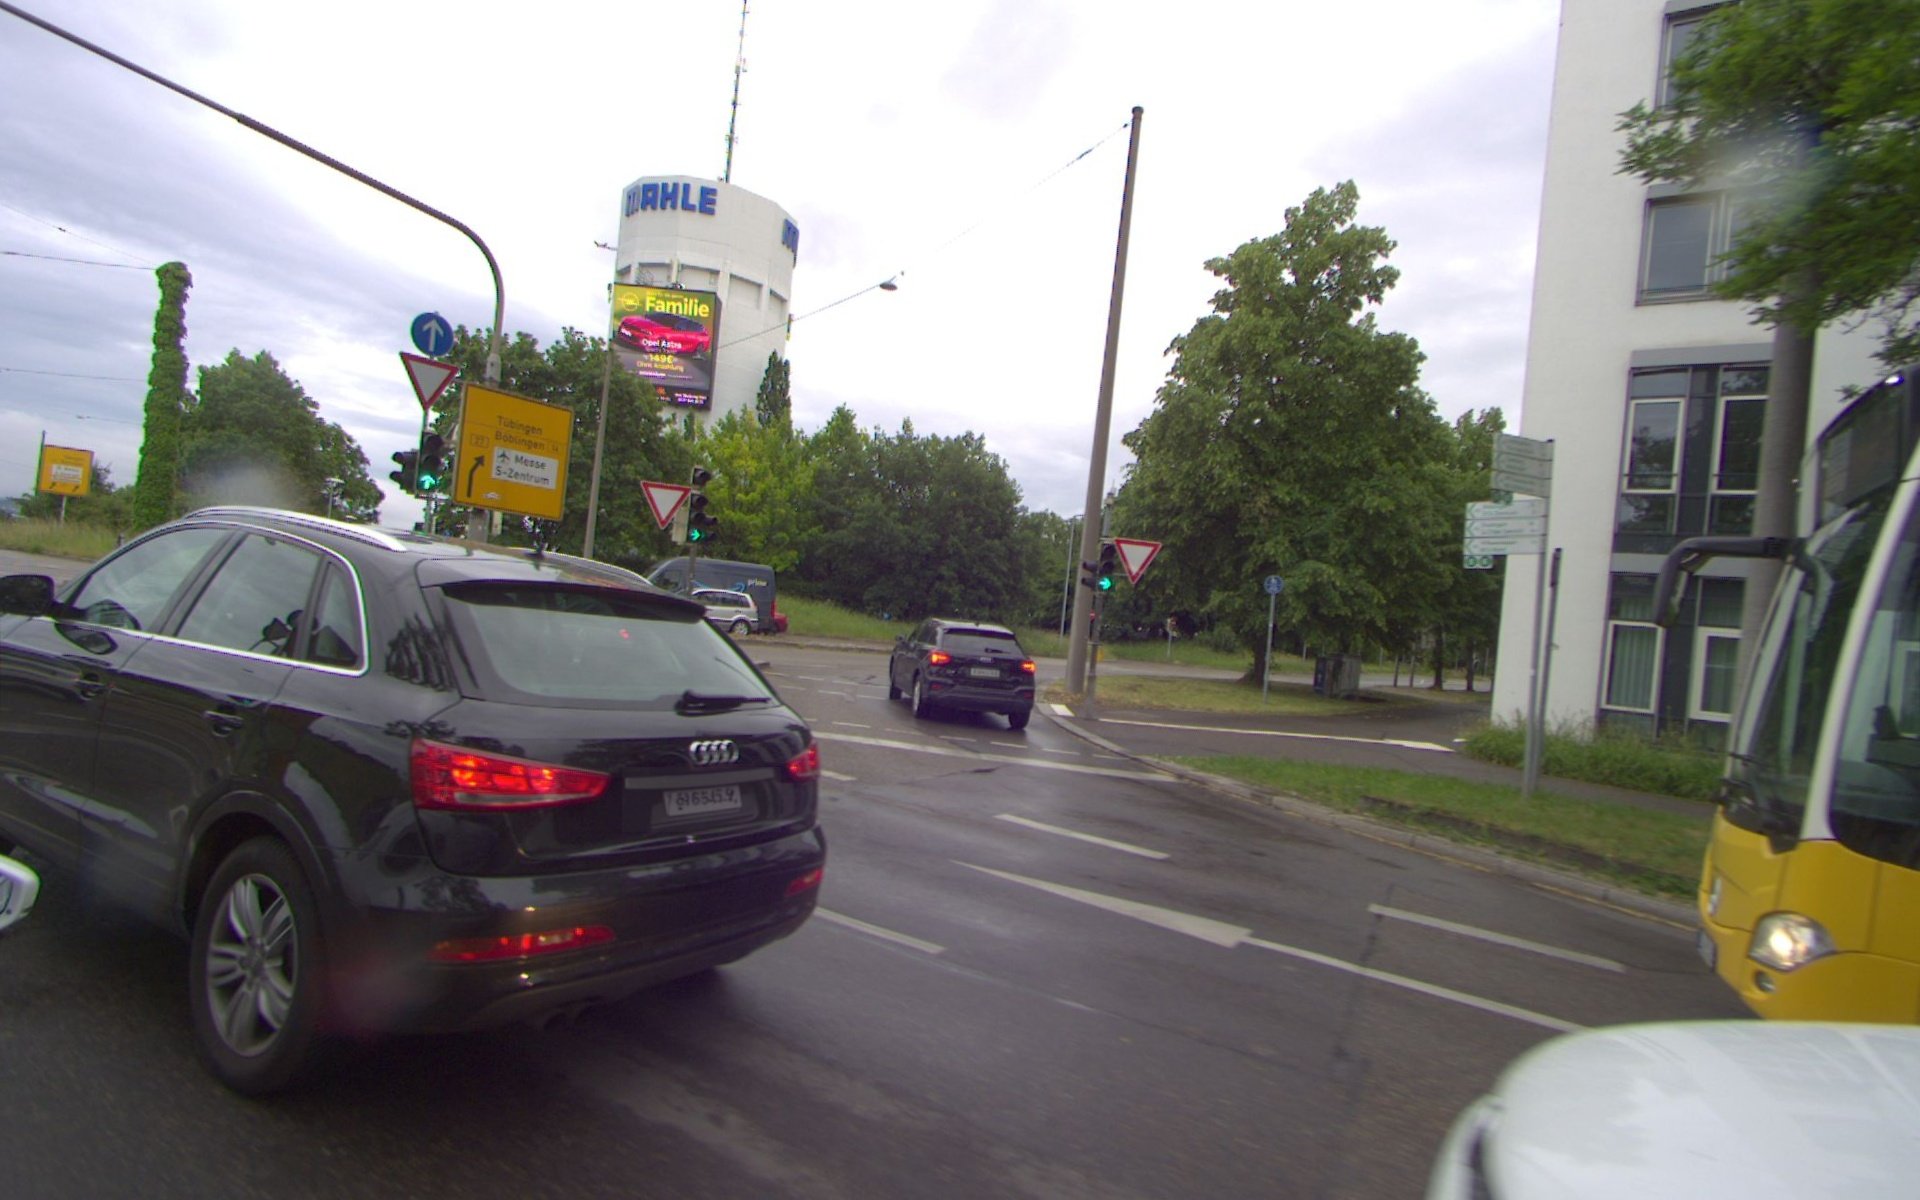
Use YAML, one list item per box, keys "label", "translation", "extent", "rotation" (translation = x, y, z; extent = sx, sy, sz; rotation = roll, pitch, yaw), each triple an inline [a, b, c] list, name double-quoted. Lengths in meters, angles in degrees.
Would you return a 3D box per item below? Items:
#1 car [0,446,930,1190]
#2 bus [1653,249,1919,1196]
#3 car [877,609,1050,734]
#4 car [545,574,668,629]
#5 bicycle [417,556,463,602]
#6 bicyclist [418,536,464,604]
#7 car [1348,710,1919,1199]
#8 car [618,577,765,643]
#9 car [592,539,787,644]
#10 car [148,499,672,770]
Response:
- label: "car"
  translation: [-2.406, 0.418, 4.060]
  extent: [4.045, 1.613, 1.889]
  rotation: [6, -3, 31]
- label: "bus"
  translation: [8.681, 1.101, 1.669]
  extent: [11.942, 3.187, 2.734]
  rotation: [7, -2, 31]
- label: "car"
  translation: [-0.100, 1.044, 16.344]
  extent: [1.840, 1.517, 4.140]
  rotation: [5, 1, -13]
- label: "car"
  translation: [-13.930, 0.061, 39.722]
  extent: [4.113, 1.582, 1.852]
  rotation: [9, -3, -38]
- label: "bicycle"
  translation: [-13.363, -0.553, 25.813]
  extent: [0.803, 1.035, 2.310]
  rotation: [6, -1, -31]
- label: "bicyclist"
  translation: [-13.321, -0.768, 25.810]
  extent: [0.803, 1.601, 1.015]
  rotation: [9, -3, -32]
- label: "car"
  translation: [2.507, 1.121, 1.035]
  extent: [3.749, 1.447, 1.745]
  rotation: [6, -3, 32]
- label: "car"
  translation: [-8.524, 0.331, 32.087]
  extent: [4.027, 1.586, 1.855]
  rotation: [9, -4, -36]
- label: "car"
  translation: [-9.314, -0.222, 34.955]
  extent: [5.972, 2.772, 2.065]
  rotation: [9, -3, -33]
- label: "car"
  translation: [-5.091, 0.237, 9.228]
  extent: [4.485, 1.694, 1.870]
  rotation: [7, -1, 27]
